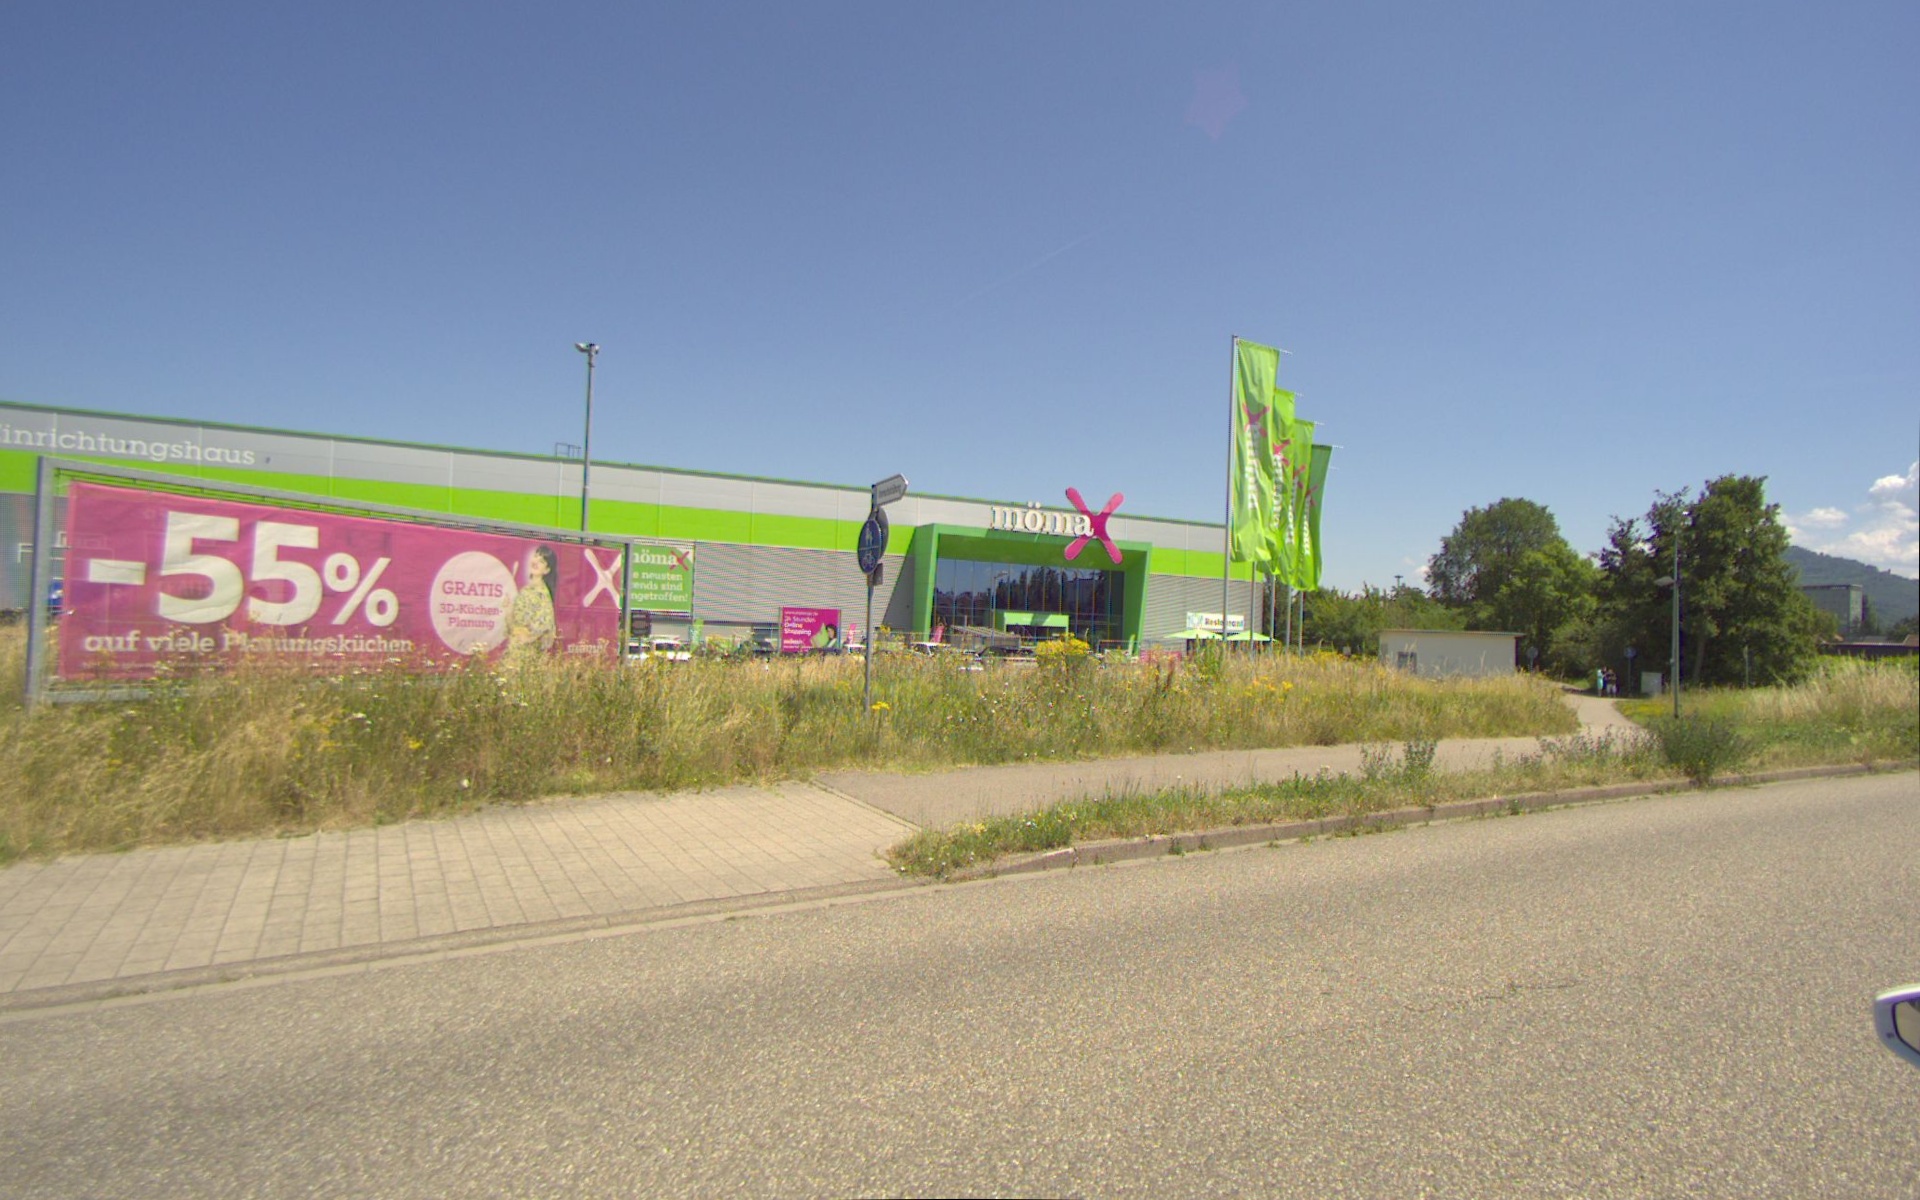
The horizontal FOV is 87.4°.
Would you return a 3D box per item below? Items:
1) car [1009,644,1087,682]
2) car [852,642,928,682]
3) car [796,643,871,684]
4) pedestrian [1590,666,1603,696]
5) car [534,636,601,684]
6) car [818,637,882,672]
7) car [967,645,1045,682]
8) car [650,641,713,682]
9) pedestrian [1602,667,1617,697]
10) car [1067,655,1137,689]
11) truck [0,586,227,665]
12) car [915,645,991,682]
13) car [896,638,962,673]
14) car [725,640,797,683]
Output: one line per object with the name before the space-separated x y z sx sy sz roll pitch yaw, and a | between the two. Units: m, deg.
car | 4.254 3.064 49.126 1.975 1.533 3.971 2 0 -27
car | -3.217 2.784 45.469 1.975 1.463 3.971 2 0 -27
car | -5.567 2.722 43.714 1.975 1.449 3.971 2 0 -27
pedestrian | 37.495 4.766 59.205 0.507 1.696 0.626 4 0 37
car | -15.312 2.299 39.076 1.975 1.533 3.971 2 0 -27
car | -5.743 2.805 51.913 1.975 1.533 3.971 2 0 -27
car | 2.142 3.014 47.954 1.975 1.435 3.971 2 0 -27
car | -12.704 2.763 45.662 1.975 1.533 3.971 2 0 -27
pedestrian | 38.145 4.789 59.004 0.619 1.696 0.596 4 0 38
car | 7.988 4.043 56.769 1.975 1.533 3.971 2 0 -27
truck | -33.195 0.911 39.138 2.902 2.719 7.782 1 0 7
car | -0.382 2.955 47.228 1.975 1.428 3.971 2 0 -27
car | -1.687 2.923 53.476 1.975 1.533 3.971 2 0 -27
car | -8.525 2.585 42.735 1.975 1.533 3.971 2 0 -27
